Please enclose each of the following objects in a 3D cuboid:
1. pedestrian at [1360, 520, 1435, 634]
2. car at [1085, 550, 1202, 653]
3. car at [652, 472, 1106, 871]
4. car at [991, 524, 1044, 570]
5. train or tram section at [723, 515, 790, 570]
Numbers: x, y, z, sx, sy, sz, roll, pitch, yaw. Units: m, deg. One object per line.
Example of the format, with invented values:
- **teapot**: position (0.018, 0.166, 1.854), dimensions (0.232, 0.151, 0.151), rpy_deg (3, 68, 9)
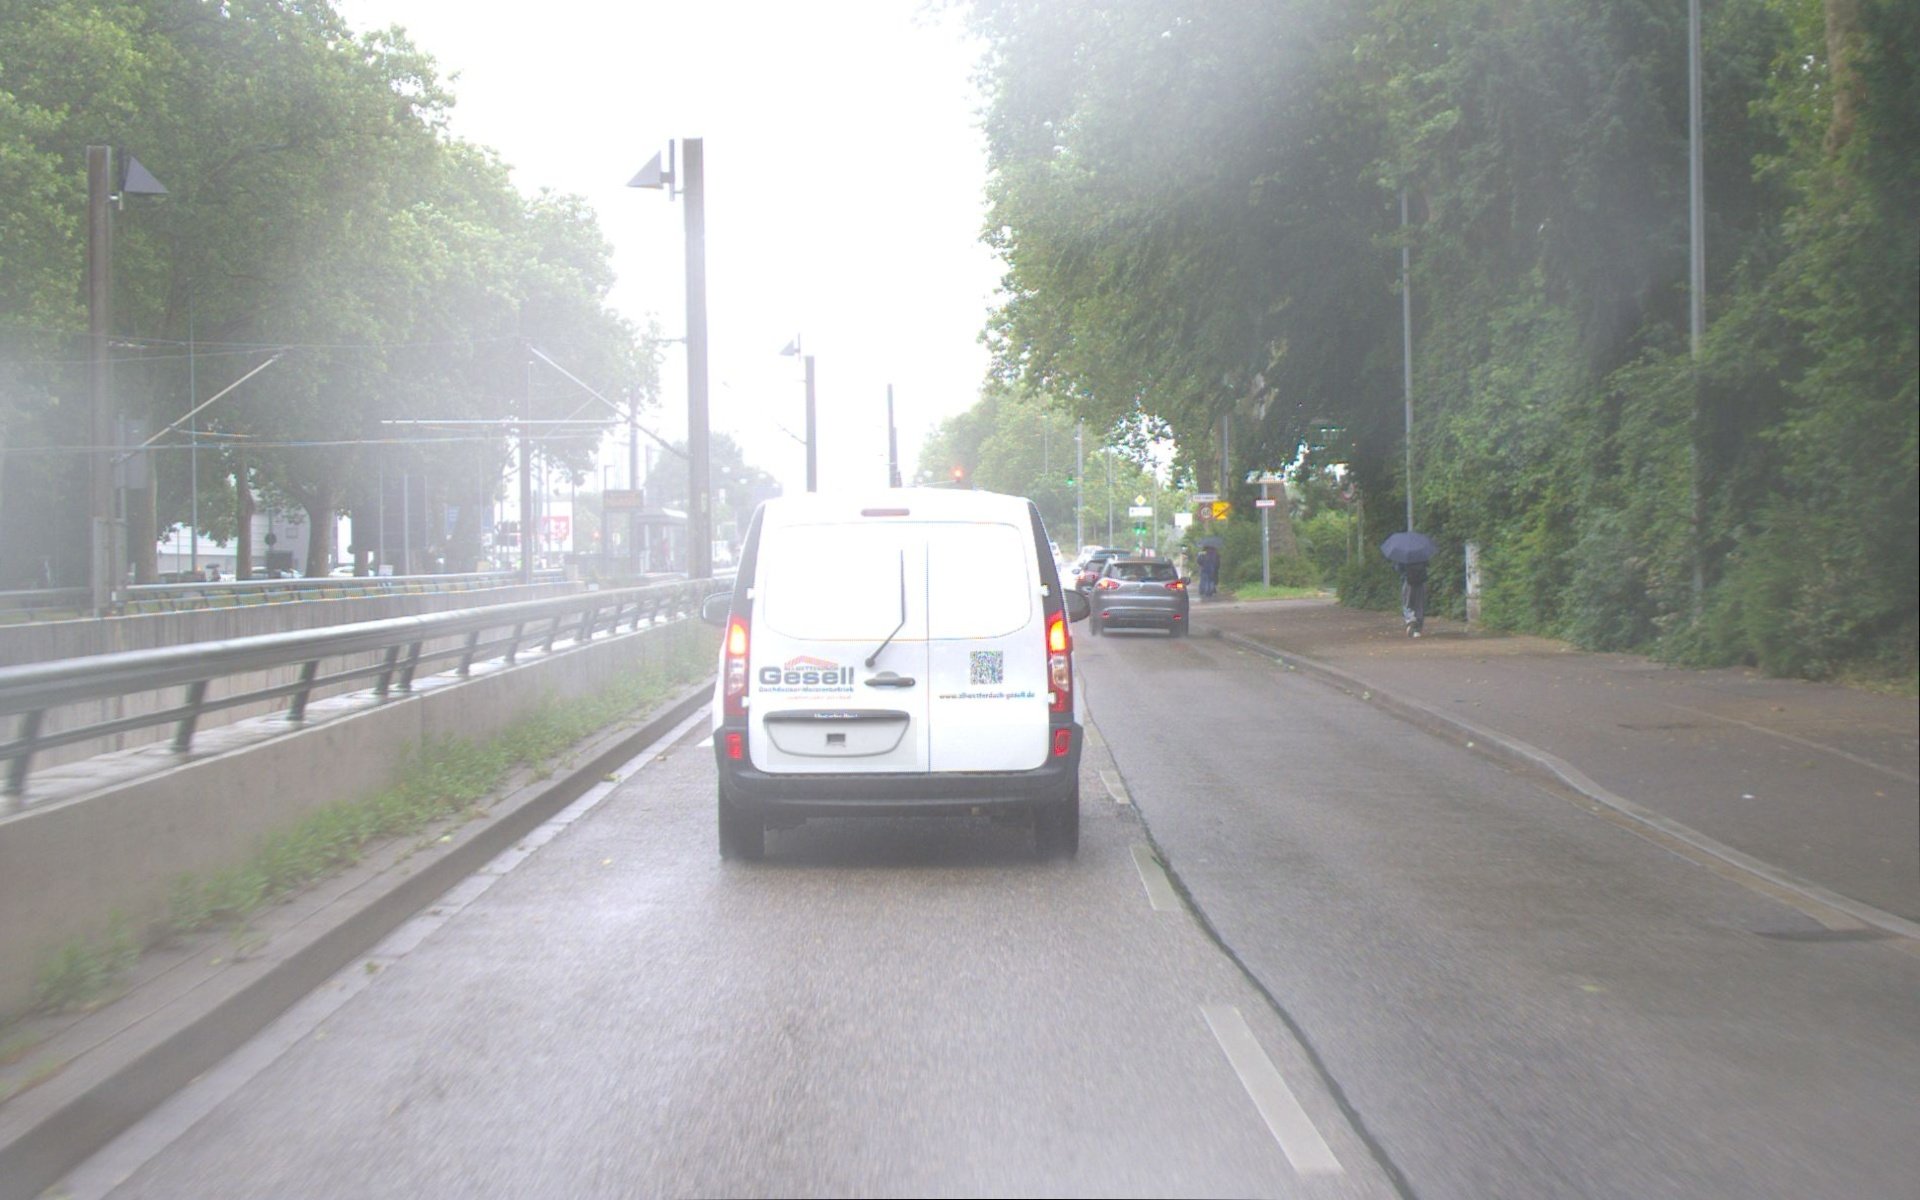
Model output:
- **pedestrian**: position (6.668, -0.351, 52.398), dimensions (0.967, 1.696, 1.141), rpy_deg (1, 1, 1)
- **car**: position (3.296, 0.002, 62.054), dimensions (1.994, 1.744, 4.000), rpy_deg (1, 1, 3)
- **car**: position (-0.403, 0.299, 17.749), dimensions (2.025, 1.769, 4.274), rpy_deg (1, 1, -1)
- **car**: position (2.247, -2.057, 133.674), dimensions (1.993, 1.744, 4.000), rpy_deg (1, 1, 1)
- **train or tram section**: position (-15.799, -4.426, 269.537), dimensions (3.770, 4.023, 27.094), rpy_deg (1, 1, 0)
